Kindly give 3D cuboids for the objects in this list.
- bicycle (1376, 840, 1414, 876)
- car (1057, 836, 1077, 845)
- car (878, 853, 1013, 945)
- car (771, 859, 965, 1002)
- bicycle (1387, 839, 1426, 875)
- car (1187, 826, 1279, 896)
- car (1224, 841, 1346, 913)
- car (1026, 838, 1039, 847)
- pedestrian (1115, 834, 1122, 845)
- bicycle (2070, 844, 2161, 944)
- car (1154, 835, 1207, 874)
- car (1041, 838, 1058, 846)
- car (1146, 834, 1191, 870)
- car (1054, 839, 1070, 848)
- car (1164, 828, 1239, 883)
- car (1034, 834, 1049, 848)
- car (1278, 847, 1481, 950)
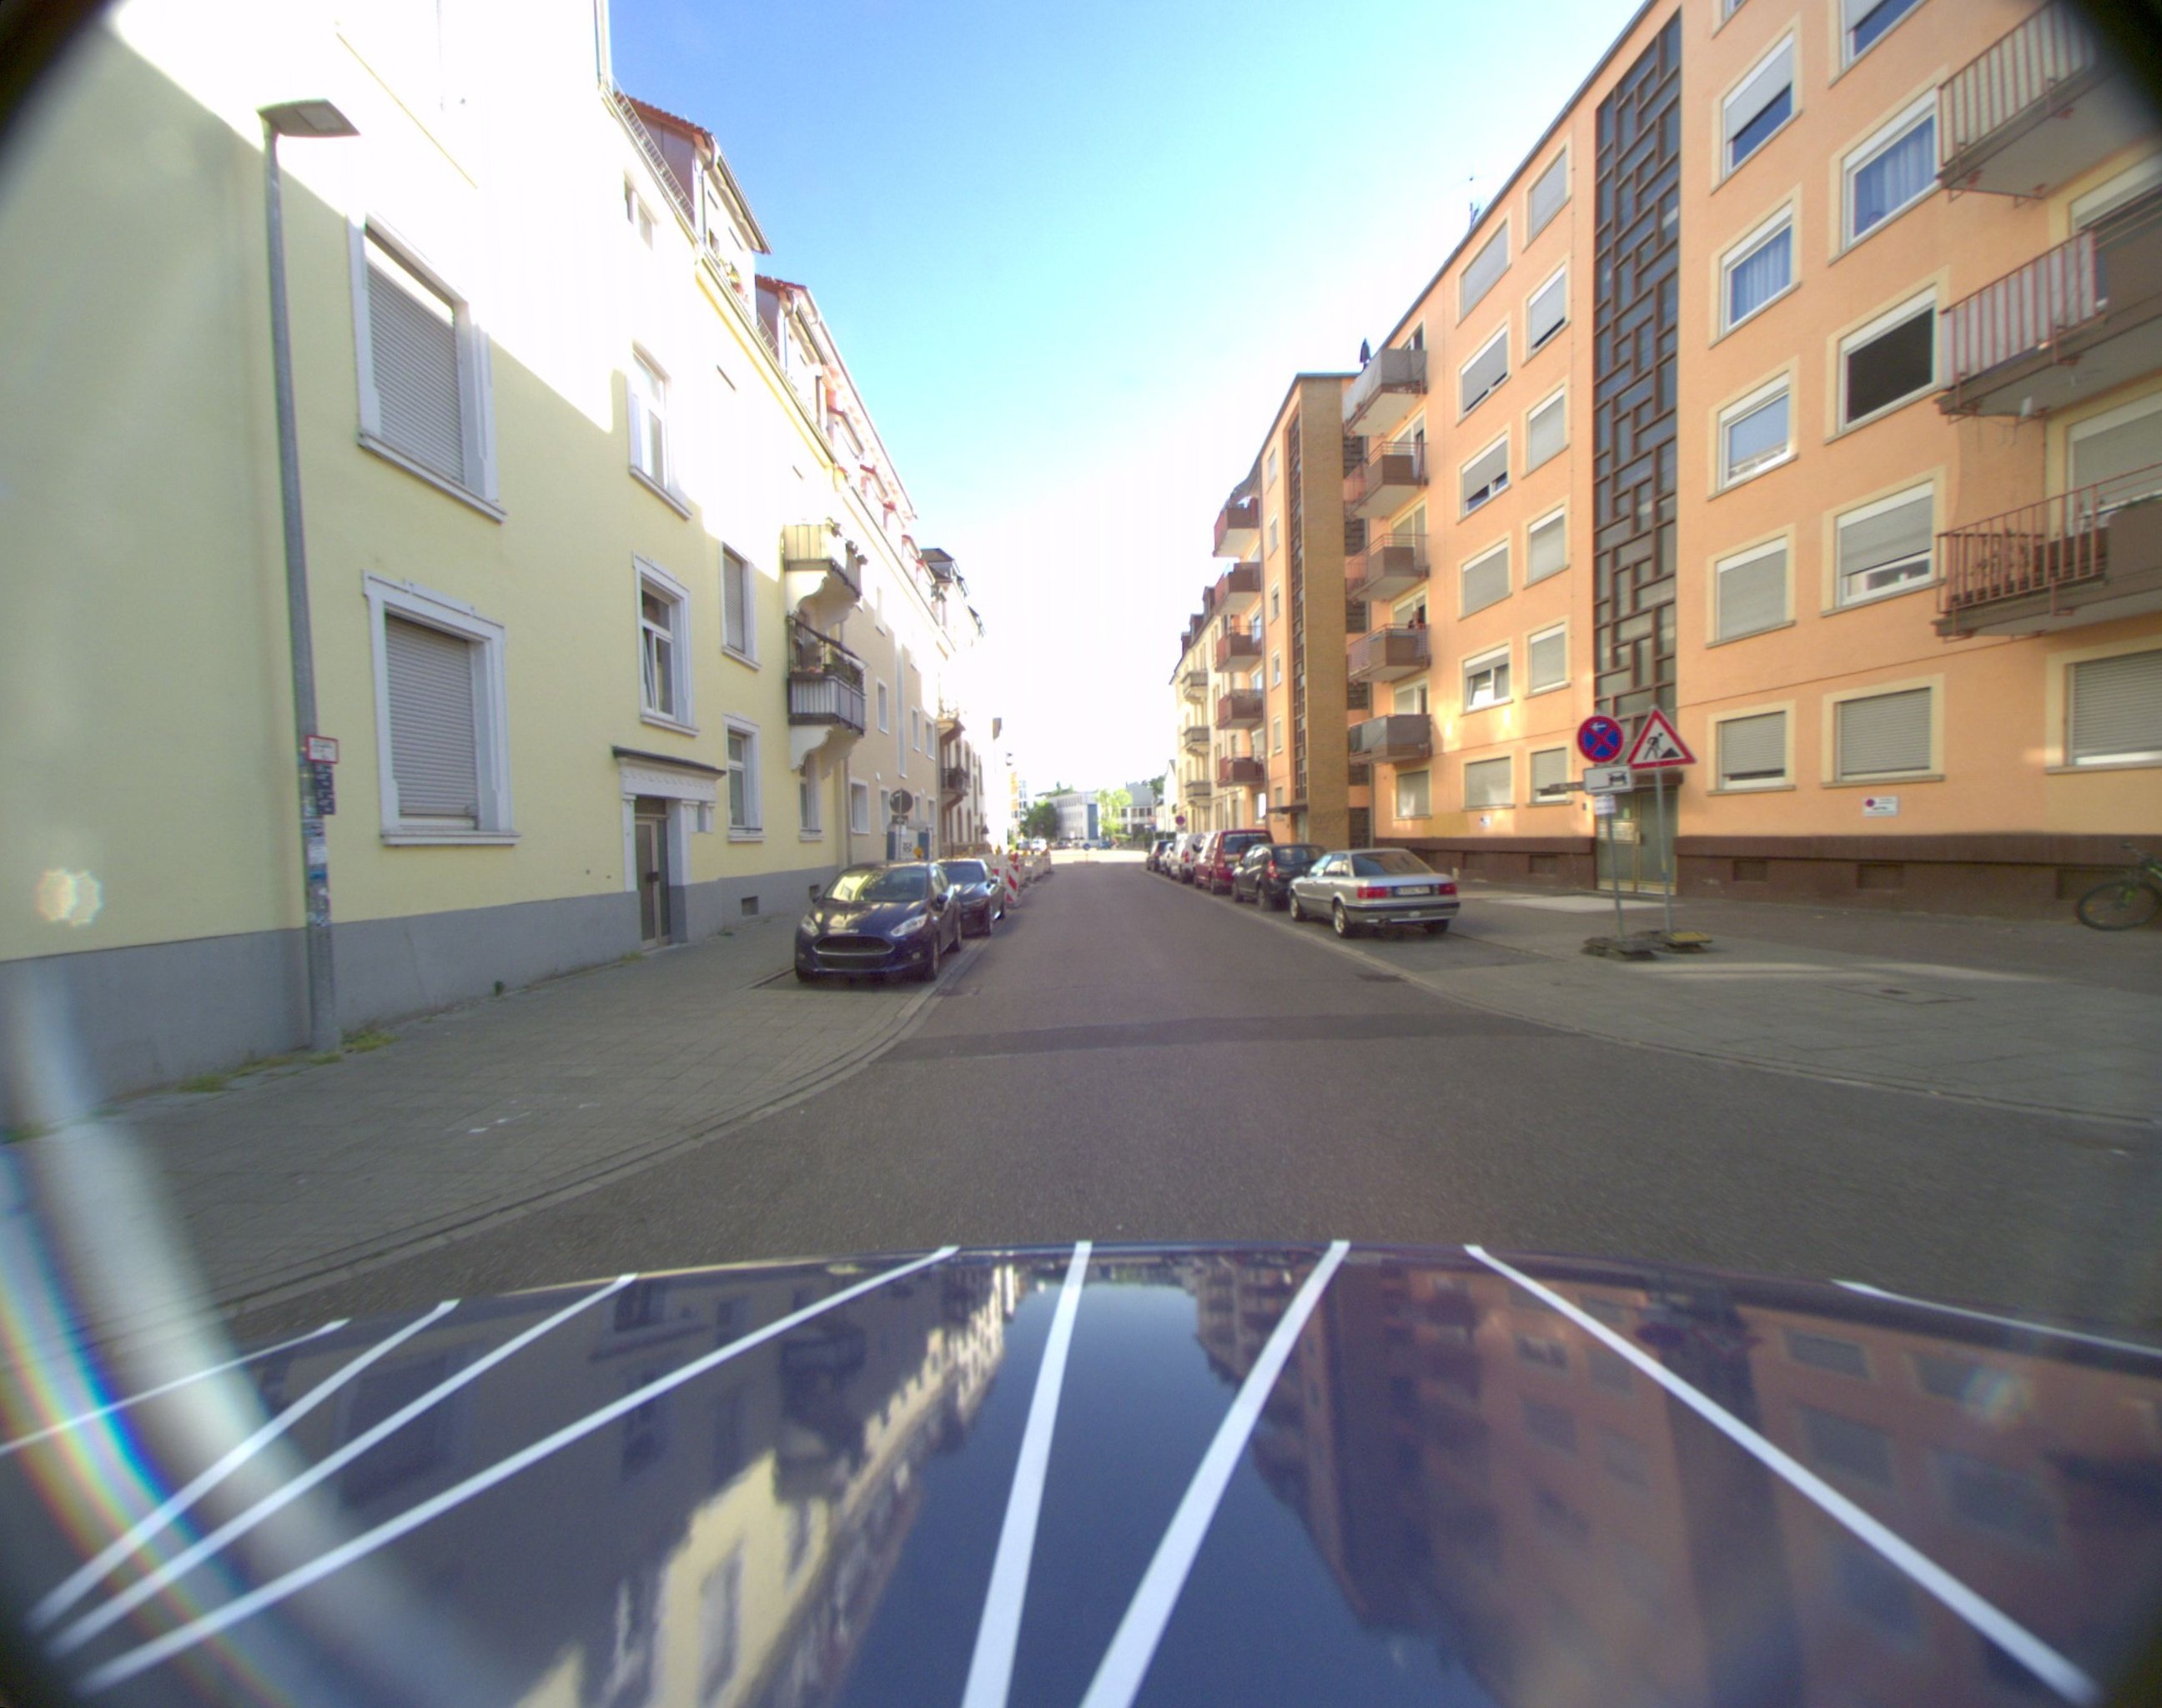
[{"bbox_3d":[10.182,0.103,24.677,0.342,1.107,1.762,-2,2,-6],"label":"bicycle"},{"bbox_3d":[-2.798,-2.691,150.704,2.141,1.604,4.825,-4,2,-23],"label":"car"},{"bbox_3d":[-2.562,0.772,15.654,1.805,1.462,5.110,1,1,1],"label":"car"},{"bbox_3d":[-2.689,0.877,10.529,1.768,1.462,4.082,1,1,-4],"label":"car"},{"bbox_3d":[10.566,0.085,24.730,0.342,1.107,1.762,-2,2,-6],"label":"bicycle"},{"bbox_3d":[4.647,0.143,23.949,1.767,1.914,4.933,-2,2,-1],"label":"car"},{"bbox_3d":[4.769,0.466,18.371,1.767,1.494,3.998,-1,1,-2],"label":"car"},{"bbox_3d":[-9.139,-2.181,142.746,1.760,1.445,3.994,2,1,-15],"label":"car"},{"bbox_3d":[6.106,-2.368,124.656,0.820,1.696,0.995,-3,2,-15],"label":"pedestrian"},{"bbox_3d":[12.180,0.450,8.172,0.505,1.058,1.891,-4,2,-5],"label":"bicycle"},{"bbox_3d":[4.574,-0.028,35.498,1.767,1.612,4.293,-2,2,-1],"label":"car"},{"bbox_3d":[-6.657,-2.539,160.416,2.141,1.604,4.826,-4,2,-21],"label":"car"},{"bbox_3d":[4.577,-0.163,40.382,1.767,1.761,4.292,-2,2,-1],"label":"car"},{"bbox_3d":[-3.546,-1.947,143.191,1.882,1.686,4.266,-2,1,-17],"label":"car"},{"bbox_3d":[4.631,-0.022,30.003,1.980,1.914,5.307,-2,1,-1],"label":"car"},{"bbox_3d":[-6.053,-1.987,117.114,1.998,2.002,4.796,2,1,1],"label":"car"},{"bbox_3d":[4.940,0.626,13.320,1.767,1.370,4.477,-2,1,0],"label":"car"}]
